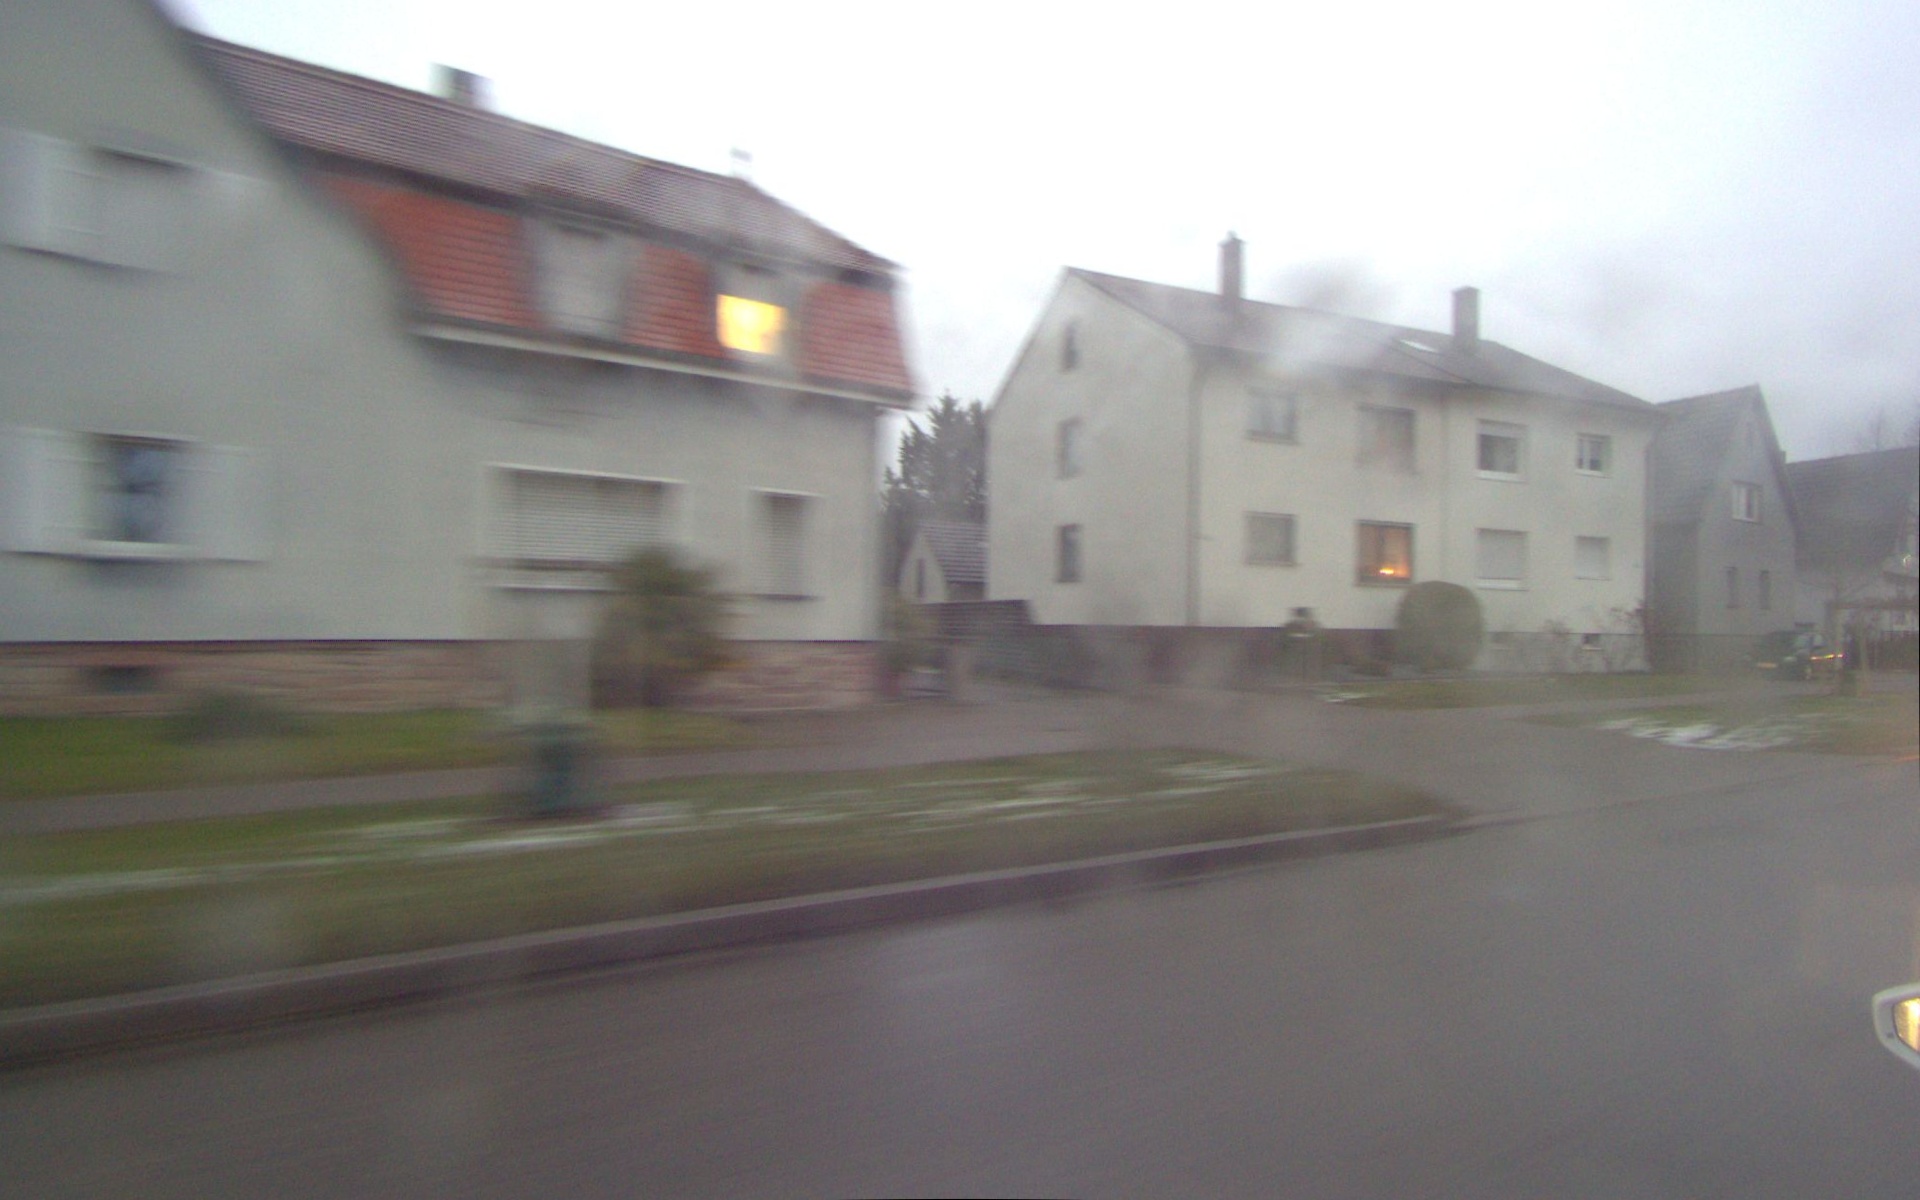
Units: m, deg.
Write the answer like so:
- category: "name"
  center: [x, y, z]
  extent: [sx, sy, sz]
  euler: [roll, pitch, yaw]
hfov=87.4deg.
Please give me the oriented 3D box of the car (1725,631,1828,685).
- category: "car"
  center: [24.664, 1.711, 30.292]
  extent: [3.969, 1.411, 1.761]
  euler: [2, 0, -41]
